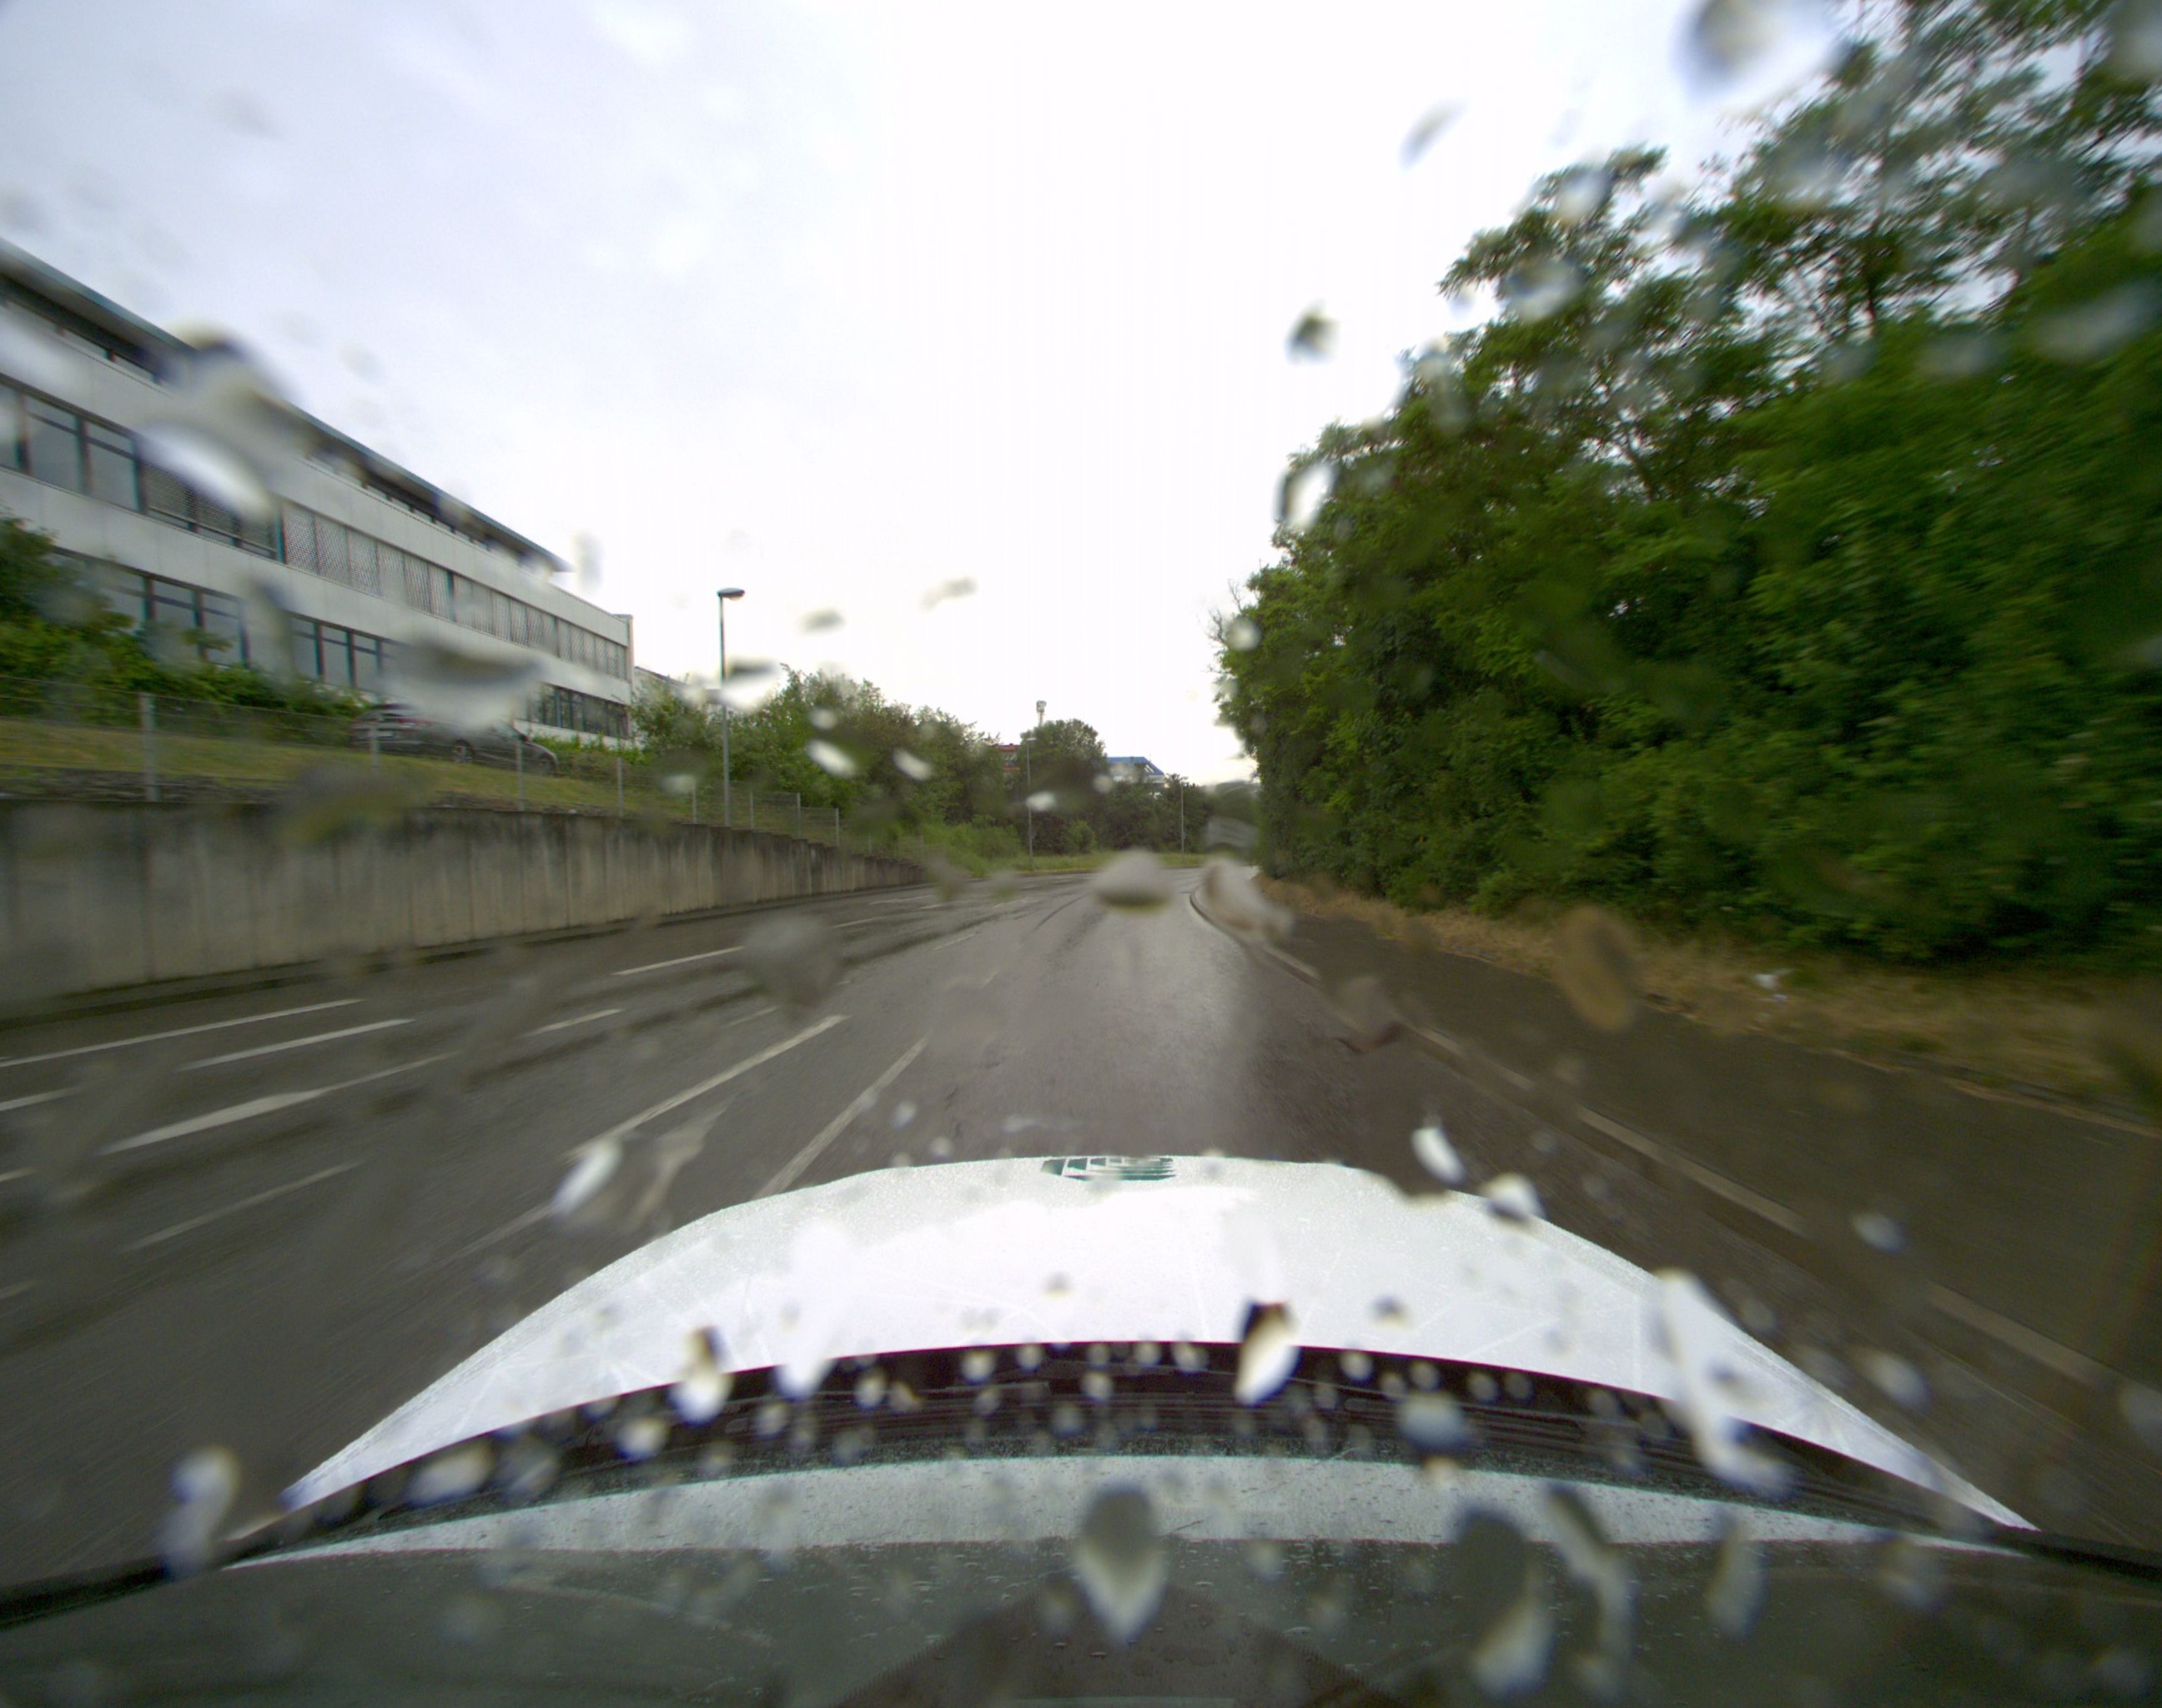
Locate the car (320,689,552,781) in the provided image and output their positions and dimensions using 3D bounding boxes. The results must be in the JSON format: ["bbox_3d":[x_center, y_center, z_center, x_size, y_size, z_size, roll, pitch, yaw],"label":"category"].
[{"bbox_3d":[-13.893,-2.503,17.903,1.820,1.442,4.002,0,0,2],"label":"car"}]
